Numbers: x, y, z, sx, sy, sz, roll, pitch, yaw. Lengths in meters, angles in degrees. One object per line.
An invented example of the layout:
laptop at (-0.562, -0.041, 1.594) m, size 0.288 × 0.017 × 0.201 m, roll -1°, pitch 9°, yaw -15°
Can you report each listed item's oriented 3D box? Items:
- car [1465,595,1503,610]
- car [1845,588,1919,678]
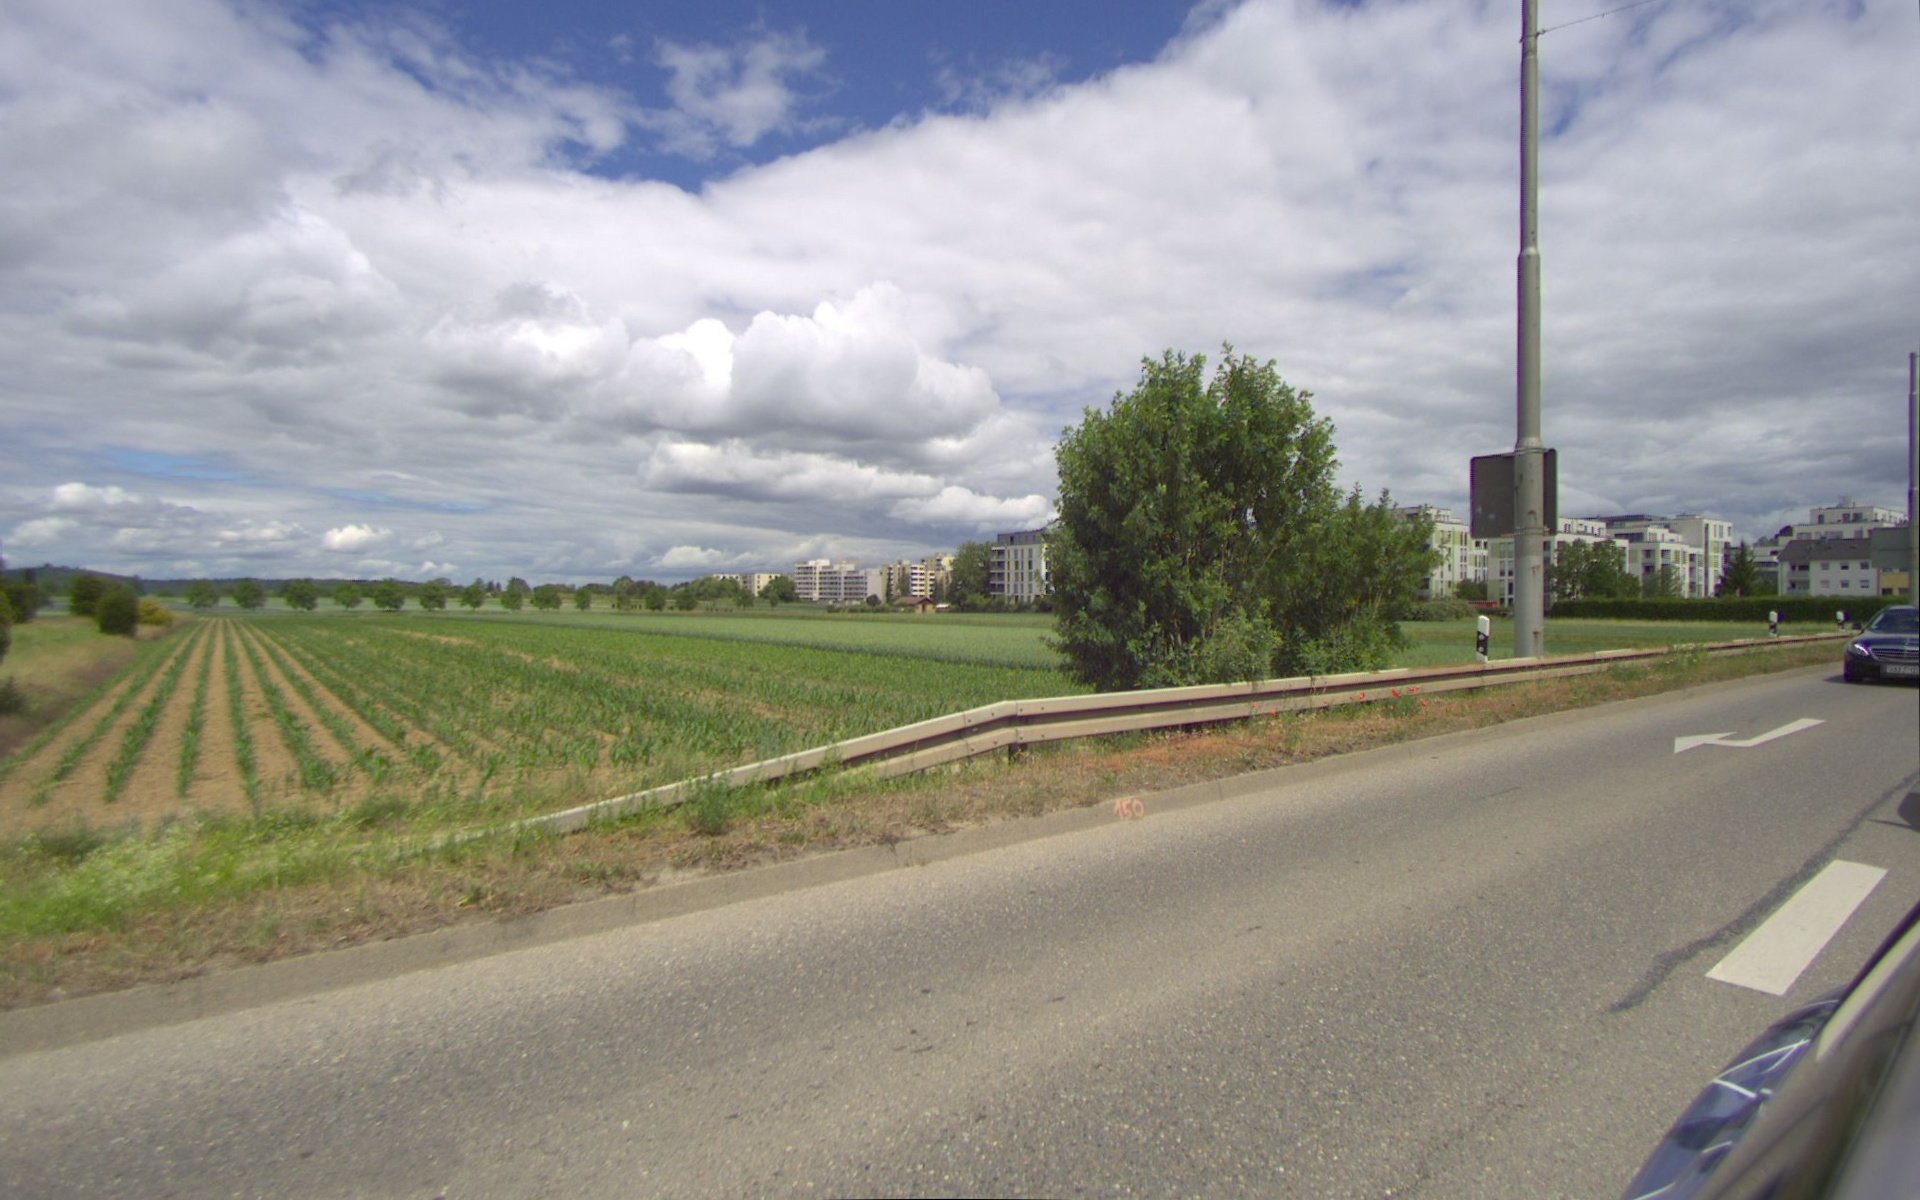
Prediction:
car at (75.531, 0.323, 146.001) m, size 1.964 × 2.039 × 4.436 m, roll 0°, pitch 1°, yaw -39°
car at (18.484, 0.656, 19.264) m, size 4.720 × 1.558 × 1.841 m, roll 3°, pitch -1°, yaw -41°
